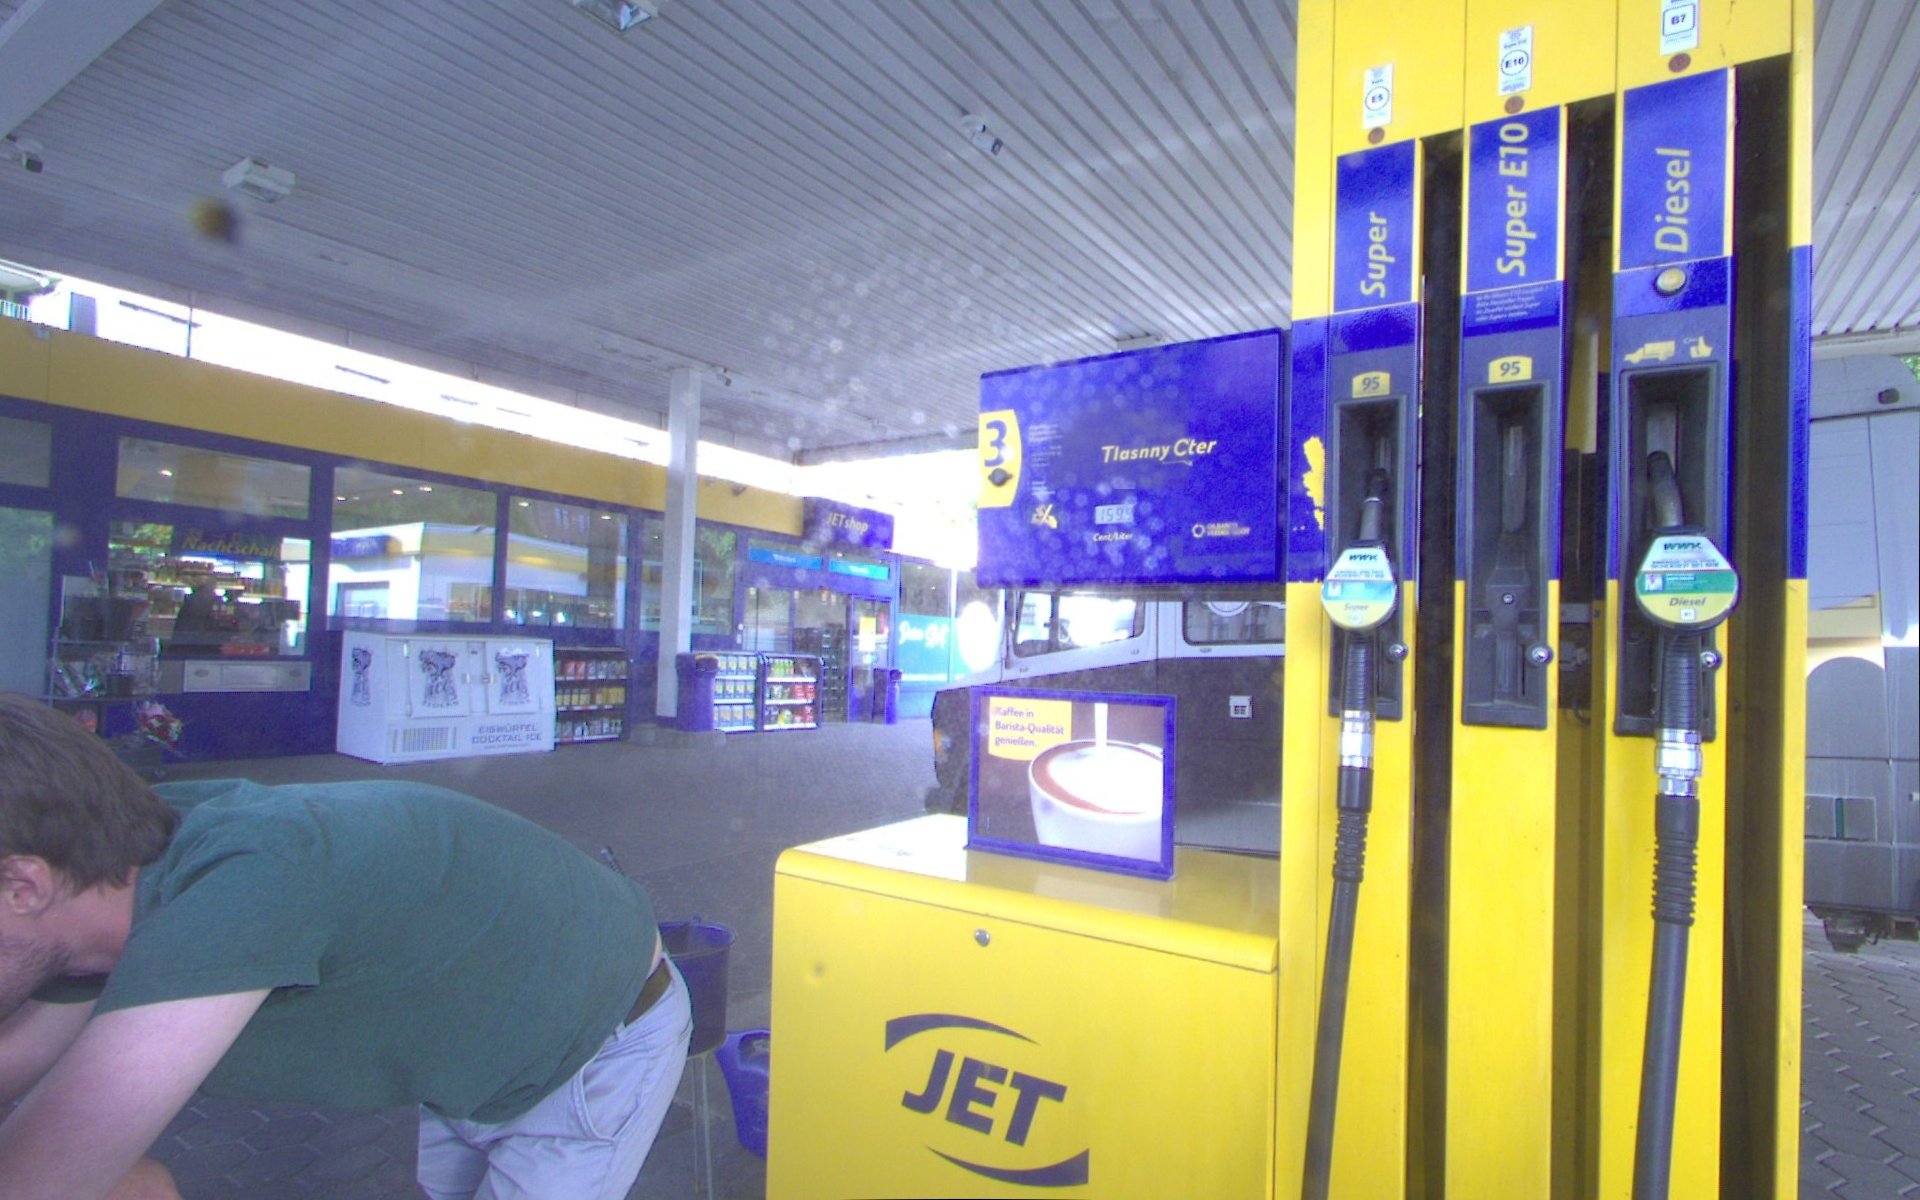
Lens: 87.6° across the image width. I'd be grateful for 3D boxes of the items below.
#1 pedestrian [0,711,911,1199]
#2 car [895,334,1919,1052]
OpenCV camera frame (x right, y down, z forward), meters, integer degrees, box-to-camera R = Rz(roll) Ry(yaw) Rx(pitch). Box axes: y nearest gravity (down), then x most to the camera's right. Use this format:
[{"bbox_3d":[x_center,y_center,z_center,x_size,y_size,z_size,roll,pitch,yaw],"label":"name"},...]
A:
[{"bbox_3d":[-0.534,0.806,1.069,0.664,1.298,0.749,-1,-1,31],"label":"pedestrian"},{"bbox_3d":[2.390,0.411,6.014,5.219,2.724,2.250,0,-3,34],"label":"car"}]
